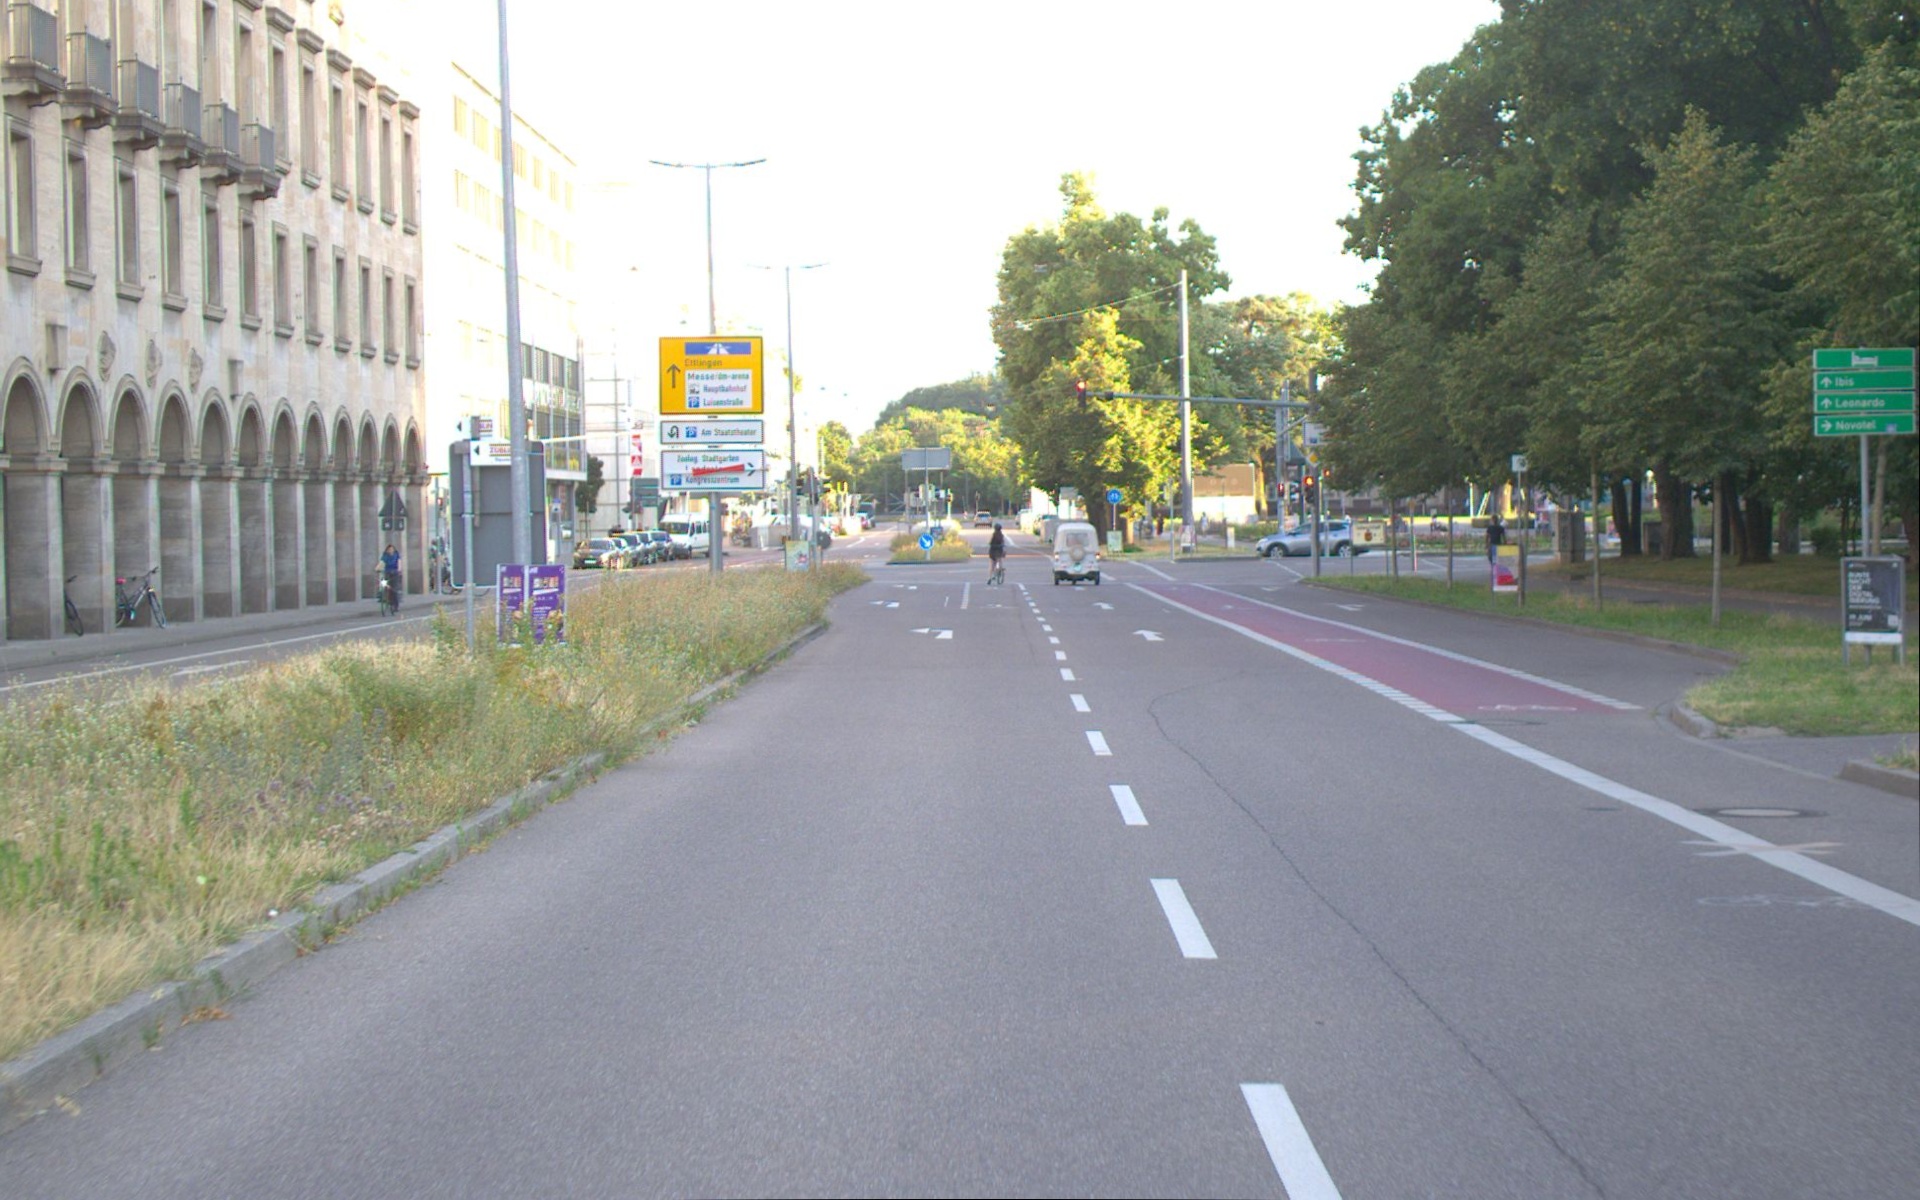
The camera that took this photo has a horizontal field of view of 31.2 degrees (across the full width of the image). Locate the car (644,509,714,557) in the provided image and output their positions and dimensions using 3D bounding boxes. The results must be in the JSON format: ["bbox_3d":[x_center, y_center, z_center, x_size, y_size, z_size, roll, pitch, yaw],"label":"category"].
[{"bbox_3d":[-15.297,-3.654,187.563,2.178,2.377,5.986,-1,-1,12],"label":"car"}]

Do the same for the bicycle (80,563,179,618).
[{"bbox_3d":[-16.059,-0.191,66.502,0.478,1.002,2.001,0,2,36],"label":"bicycle"}]

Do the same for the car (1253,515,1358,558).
[{"bbox_3d":[13.587,-2.509,135.348,3.987,1.568,2.000,-1,1,3],"label":"car"}]

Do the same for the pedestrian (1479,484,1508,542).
[{"bbox_3d":[15.744,-2.564,101.396,0.695,1.687,0.748,-1,1,-1],"label":"pedestrian"}]

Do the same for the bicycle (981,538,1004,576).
[{"bbox_3d":[0.919,-1.249,98.662,0.637,1.065,2.069,0,1,0],"label":"bicycle"}]

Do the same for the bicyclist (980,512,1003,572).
[{"bbox_3d":[0.902,-1.662,98.337,0.628,1.687,0.748,-1,1,0],"label":"bicyclist"}]

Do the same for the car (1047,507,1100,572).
[{"bbox_3d":[3.246,-1.731,98.047,1.459,1.774,2.564,0,2,3],"label":"car"}]

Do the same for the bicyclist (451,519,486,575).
[{"bbox_3d":[-14.833,-1.605,103.674,0.747,1.687,0.764,-1,1,17],"label":"bicyclist"}]

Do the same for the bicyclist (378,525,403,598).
[{"bbox_3d":[-13.322,-0.913,80.406,0.536,1.687,0.749,-1,1,-10],"label":"bicyclist"}]

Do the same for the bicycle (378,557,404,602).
[{"bbox_3d":[-13.291,-0.481,80.262,0.541,1.002,2.005,-1,0,-10],"label":"bicycle"}]

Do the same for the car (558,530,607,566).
[{"bbox_3d":[-17.184,-2.355,156.815,1.796,1.470,4.000,-1,-1,0],"label":"car"}]

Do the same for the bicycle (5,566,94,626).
[{"bbox_3d":[-16.272,-0.075,61.466,0.477,1.002,2.003,-1,1,19],"label":"bicycle"}]

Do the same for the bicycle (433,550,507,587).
[{"bbox_3d":[-14.775,-0.953,103.680,2.059,1.065,0.786,-1,1,17],"label":"bicycle"}]
